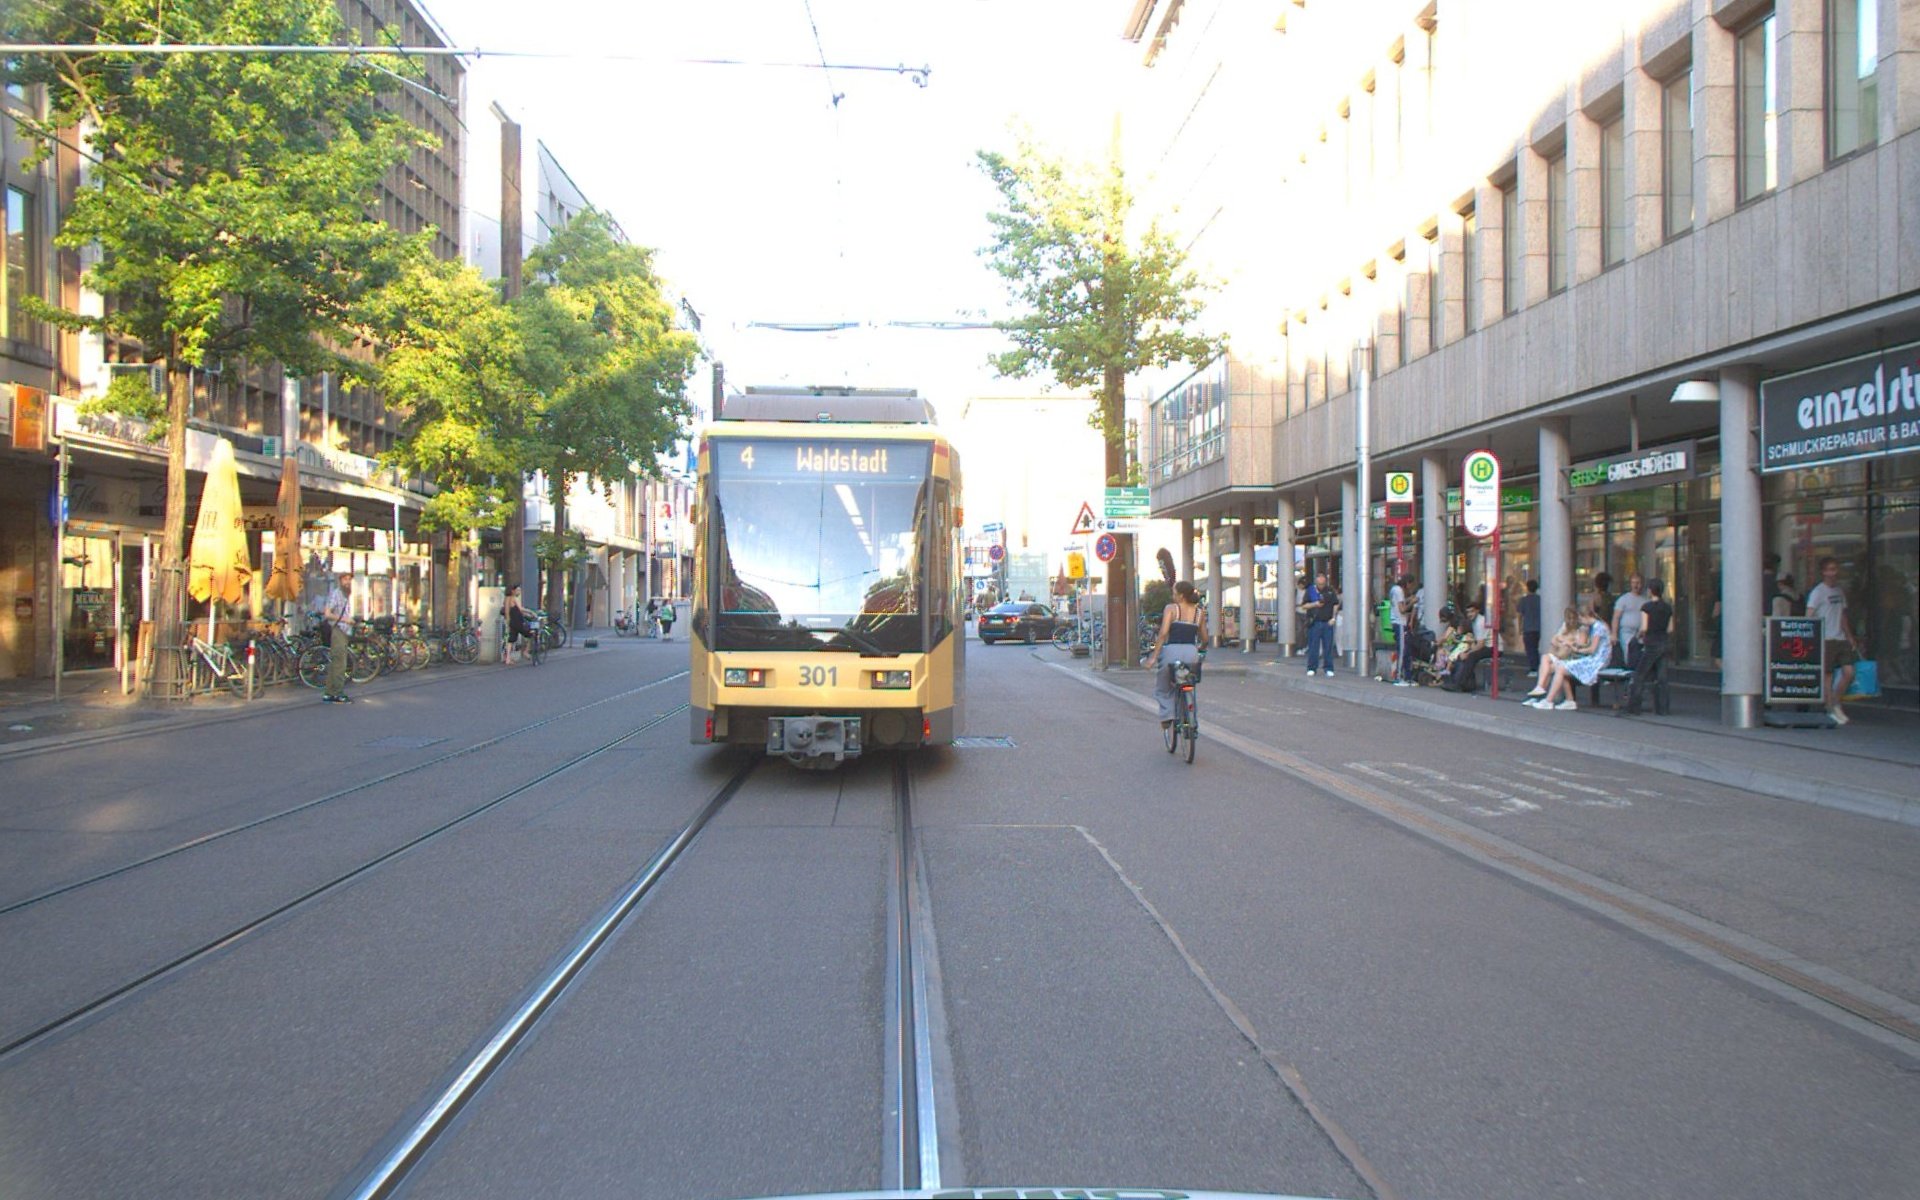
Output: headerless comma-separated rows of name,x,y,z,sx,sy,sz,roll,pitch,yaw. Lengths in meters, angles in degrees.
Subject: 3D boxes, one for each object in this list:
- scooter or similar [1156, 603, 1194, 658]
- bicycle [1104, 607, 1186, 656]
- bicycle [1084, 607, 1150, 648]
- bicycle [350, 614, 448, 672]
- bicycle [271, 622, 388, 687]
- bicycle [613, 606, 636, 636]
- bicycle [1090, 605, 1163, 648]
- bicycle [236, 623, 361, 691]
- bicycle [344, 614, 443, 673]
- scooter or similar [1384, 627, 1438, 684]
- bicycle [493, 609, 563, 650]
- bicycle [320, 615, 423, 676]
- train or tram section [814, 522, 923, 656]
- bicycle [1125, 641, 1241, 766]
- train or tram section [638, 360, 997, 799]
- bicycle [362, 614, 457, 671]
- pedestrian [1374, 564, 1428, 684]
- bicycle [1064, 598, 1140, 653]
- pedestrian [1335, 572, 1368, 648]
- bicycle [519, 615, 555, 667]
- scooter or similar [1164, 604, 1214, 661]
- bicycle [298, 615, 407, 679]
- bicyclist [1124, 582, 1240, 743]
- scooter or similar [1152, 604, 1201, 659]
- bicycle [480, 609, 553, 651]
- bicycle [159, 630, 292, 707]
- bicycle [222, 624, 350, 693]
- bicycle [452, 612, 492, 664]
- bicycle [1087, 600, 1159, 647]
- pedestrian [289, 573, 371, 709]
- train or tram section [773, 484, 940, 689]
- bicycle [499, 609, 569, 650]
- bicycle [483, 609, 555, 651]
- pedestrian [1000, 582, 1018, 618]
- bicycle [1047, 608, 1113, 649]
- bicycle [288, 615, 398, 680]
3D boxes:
scooter or similar,5.231,0.738,40.277,0.385,1.273,1.187,-1,1,36
bicycle,4.812,0.805,43.072,1.958,1.175,0.724,-2,0,-7
bicycle,4.604,0.801,48.630,1.816,1.128,0.666,-2,0,-5
bicycle,-11.155,0.857,32.917,1.738,1.090,0.488,2,0,-8
bicycle,-10.458,0.903,27.469,1.738,1.007,0.489,1,1,-8
bicycle,-13.430,0.834,66.257,0.488,1.127,1.801,0,1,3
bicycle,4.639,0.743,46.221,1.879,1.096,0.762,-2,0,-7
bicycle,-10.414,0.896,26.058,1.738,1.007,0.489,1,1,-8
bicycle,-11.082,0.855,32.374,1.738,1.090,0.488,2,0,-8
scooter or similar,7.470,0.907,27.404,0.815,0.899,0.687,1,0,12
bicycle,-11.616,0.787,44.492,1.736,1.063,0.489,1,0,-2
bicycle,-11.070,0.849,31.154,1.738,1.090,0.488,2,0,-8
train or tram section,-2.623,-0.322,49.069,2.744,3.377,14.501,0,0,-2
bicycle,2.179,0.989,16.461,0.798,1.092,2.113,1,0,-2
train or tram section,-1.400,-0.197,20.024,2.744,3.377,14.501,0,0,-2
bicycle,-11.169,0.860,33.569,1.738,1.090,0.488,2,0,-8
pedestrian,7.042,0.377,26.434,0.626,1.872,0.667,-1,0,-1
bicycle,3.789,0.666,44.106,1.879,1.356,0.724,-2,0,-7
pedestrian,9.880,0.252,41.780,0.649,1.881,0.719,-1,-1,3
bicycle,-9.244,0.890,36.165,0.478,1.063,1.776,0,1,-5
scooter or similar,5.395,0.757,38.959,1.102,1.273,0.491,-2,1,-33
bicycle,-10.977,0.843,29.917,1.738,1.090,0.488,2,0,-8
bicyclist,2.181,0.600,16.359,0.977,1.528,0.857,1,0,-2
scooter or similar,5.189,0.755,39.686,1.176,1.273,0.389,-2,1,-32
bicycle,-11.573,0.782,43.189,1.736,1.063,0.489,1,0,-2
bicycle,-10.238,0.945,23.057,1.734,0.983,0.490,2,-1,15
bicycle,-10.386,0.894,25.531,1.738,1.007,0.489,1,1,-8
bicycle,-10.578,0.812,35.920,0.478,1.063,1.776,0,1,-5
bicycle,4.614,0.661,46.967,1.879,1.244,0.762,-2,0,-7
pedestrian,-8.714,0.557,22.851,0.814,1.824,0.977,0,-1,-39
train or tram section,-2.009,-0.262,34.568,2.744,3.377,14.501,0,0,-2
bicycle,-11.601,0.790,45.073,1.736,1.063,0.489,1,0,-2
bicycle,-11.579,0.783,43.432,1.736,1.063,0.489,1,0,-2
pedestrian,2.495,-0.007,84.655,0.722,1.855,0.816,0,0,-17
bicycle,3.497,0.841,48.370,1.816,1.128,0.666,-2,0,-5
bicycle,-10.936,0.841,29.341,1.738,1.090,0.488,2,0,-8
